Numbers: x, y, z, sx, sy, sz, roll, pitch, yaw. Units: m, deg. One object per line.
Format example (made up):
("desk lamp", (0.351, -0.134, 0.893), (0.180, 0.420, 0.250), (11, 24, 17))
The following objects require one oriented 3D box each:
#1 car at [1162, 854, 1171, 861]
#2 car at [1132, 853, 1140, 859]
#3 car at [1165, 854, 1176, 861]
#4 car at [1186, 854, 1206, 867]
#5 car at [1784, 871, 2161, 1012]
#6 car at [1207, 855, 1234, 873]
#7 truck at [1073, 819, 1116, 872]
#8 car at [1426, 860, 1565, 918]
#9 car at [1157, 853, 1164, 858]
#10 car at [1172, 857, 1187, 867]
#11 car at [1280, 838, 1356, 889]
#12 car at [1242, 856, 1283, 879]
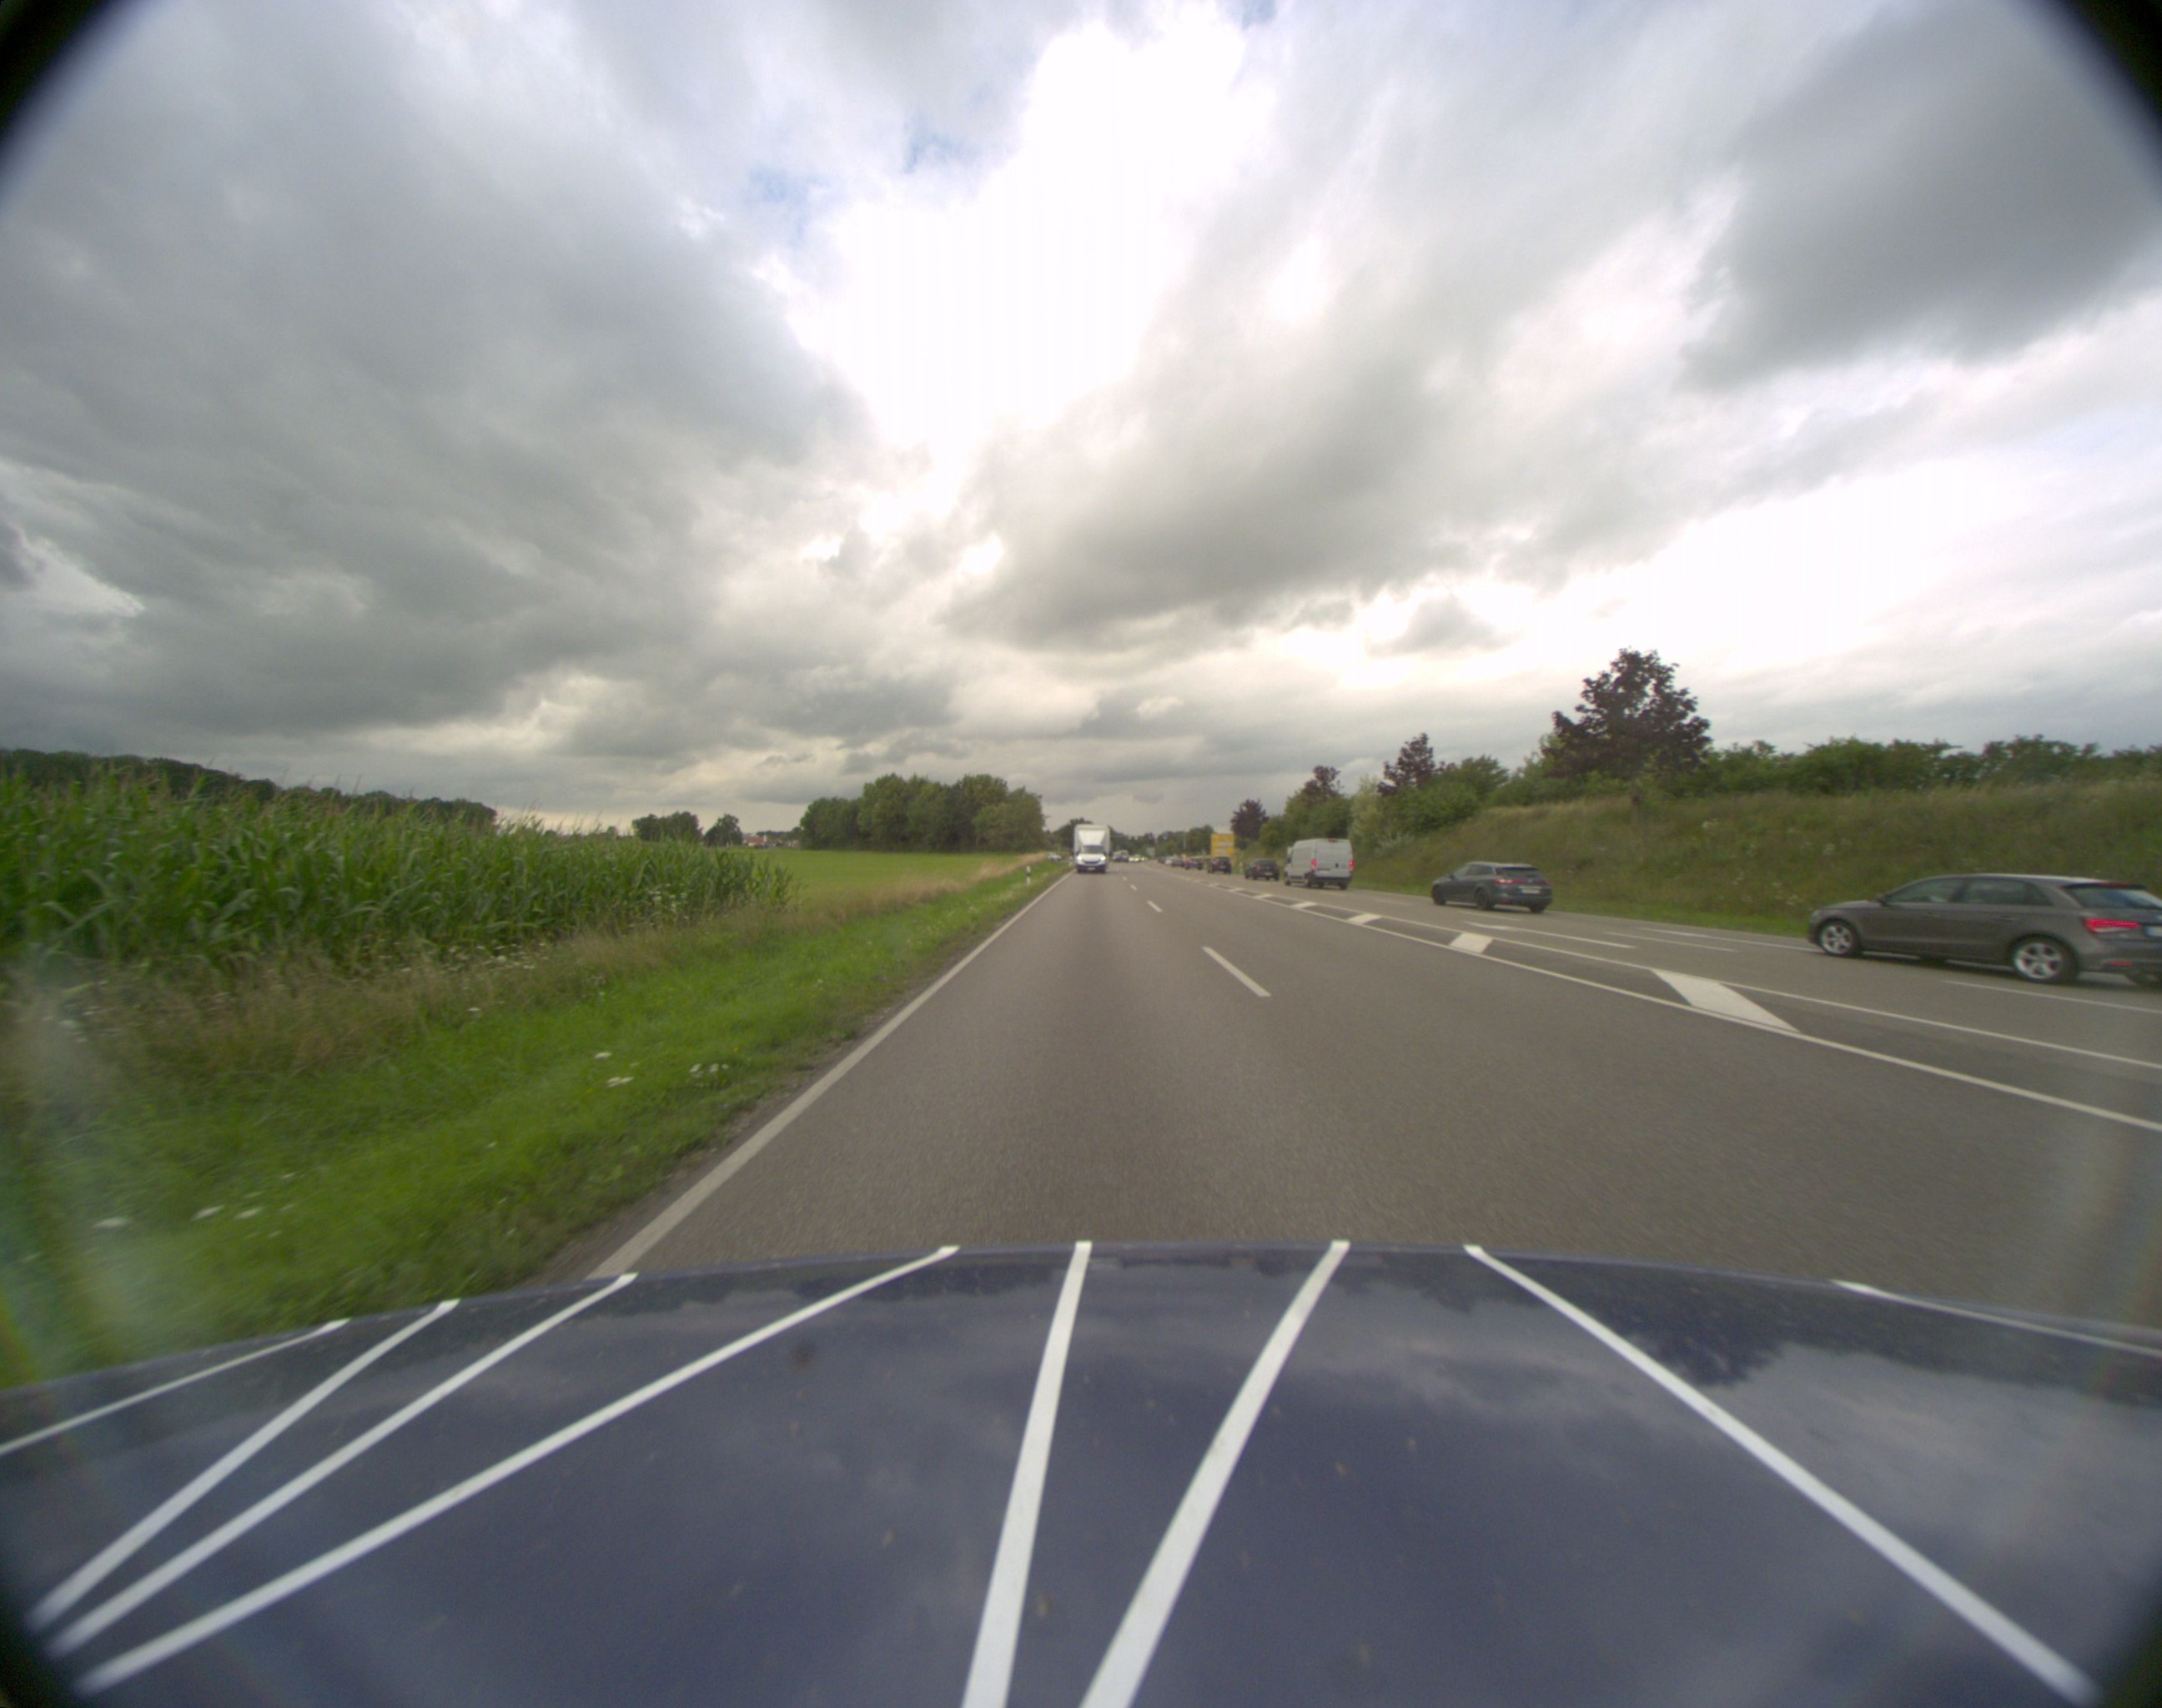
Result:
("car", (19.890, 0.818, 176.963), (1.727, 1.472, 4.660), (2, 0, 4))
("car", (13.360, 0.444, 185.741), (1.860, 1.274, 4.001), (2, 0, 4))
("car", (17.180, 0.631, 145.853), (1.611, 1.406, 4.056), (1, 0, 2))
("car", (14.281, 0.832, 94.345), (1.798, 1.502, 4.706), (2, 0, 2))
("car", (12.807, 1.059, 10.775), (1.737, 1.521, 4.193), (1, 0, -1))
("car", (13.053, 0.907, 71.196), (1.798, 1.624, 4.516), (2, 0, 2))
("truck", (0.942, -0.590, 56.211), (2.934, 3.652, 8.442), (0, 0, 0))
("car", (12.545, 0.992, 23.383), (1.737, 1.521, 4.548), (1, 0, -1))
("car", (24.018, 0.412, 228.768), (1.855, 1.706, 4.130), (0, 0, 2))
("car", (15.233, 1.274, 118.070), (1.798, 1.397, 4.706), (3, 0, 2))
("car", (12.232, 0.451, 39.659), (2.038, 2.425, 5.635), (2, 0, -1))
("car", (12.409, 0.899, 52.245), (1.737, 1.521, 4.193), (1, 0, -1))
